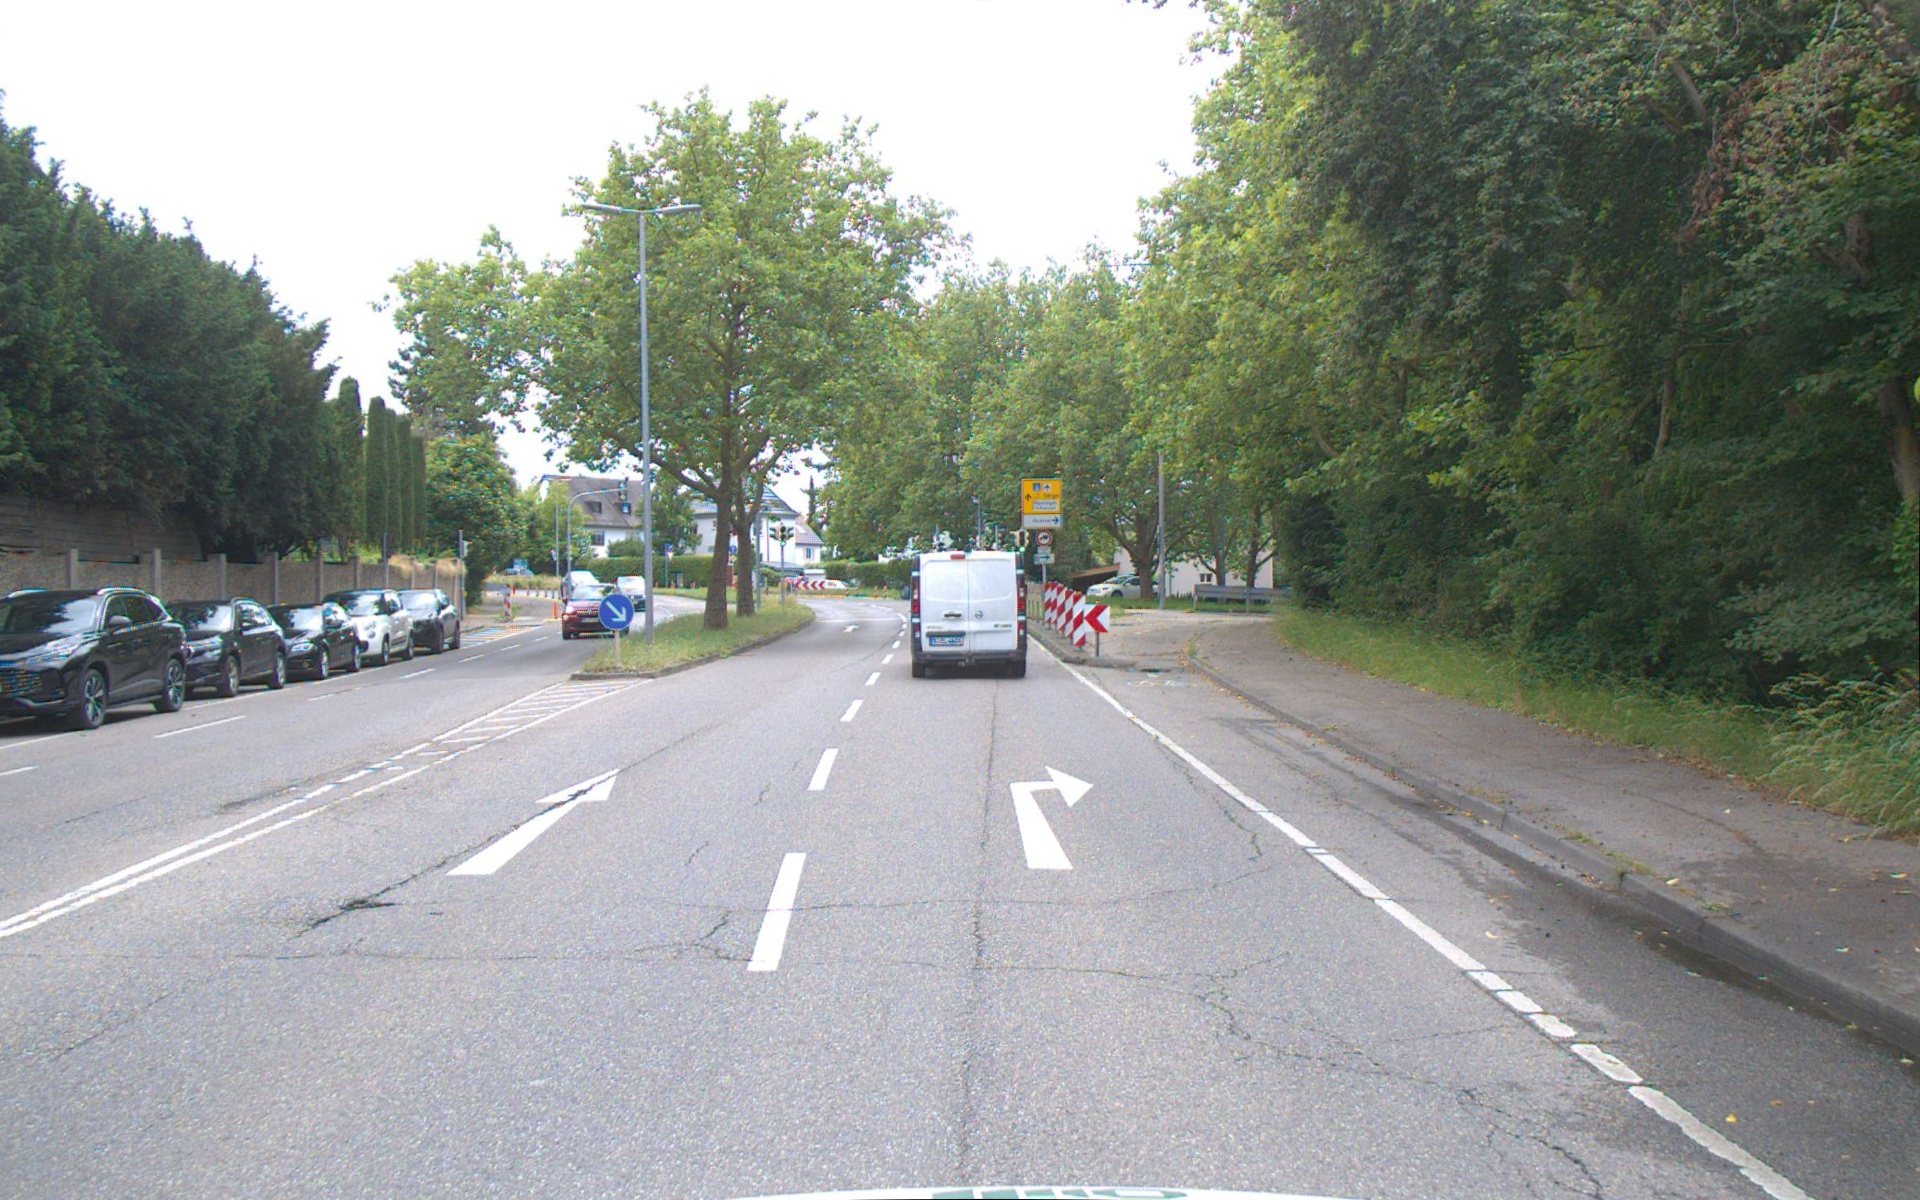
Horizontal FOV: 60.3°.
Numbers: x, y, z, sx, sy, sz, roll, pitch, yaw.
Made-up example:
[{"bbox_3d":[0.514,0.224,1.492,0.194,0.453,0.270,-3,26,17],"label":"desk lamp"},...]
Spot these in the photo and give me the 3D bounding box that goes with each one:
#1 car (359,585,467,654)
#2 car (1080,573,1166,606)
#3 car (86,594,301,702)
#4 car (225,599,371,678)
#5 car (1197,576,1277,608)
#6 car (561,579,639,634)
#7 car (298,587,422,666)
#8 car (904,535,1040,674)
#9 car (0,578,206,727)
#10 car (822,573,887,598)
[{"bbox_3d":[-13.928,0.469,42.344,1.852,1.653,4.422,-1,0,-8],"label":"car"},{"bbox_3d":[9.064,-0.588,91.766,4.692,1.800,1.975,-1,1,-36],"label":"car"},{"bbox_3d":[-12.239,0.708,26.710,1.909,1.538,4.097,-2,0,-7],"label":"car"},{"bbox_3d":[-12.814,0.703,32.254,1.616,1.425,4.215,-1,0,-7],"label":"car"},{"bbox_3d":[16.301,-0.487,97.190,4.692,1.800,1.975,-1,1,-36],"label":"car"},{"bbox_3d":[-11.189,0.192,51.676,1.960,1.615,3.992,-1,0,-7],"label":"car"},{"bbox_3d":[-13.348,0.547,37.020,1.640,1.620,4.090,-2,1,-6],"label":"car"},{"bbox_3d":[0.106,0.079,27.637,1.966,2.073,5.007,-1,0,-3],"label":"car"},{"bbox_3d":[-11.321,0.608,20.997,1.956,1.672,4.458,-1,0,-8],"label":"car"},{"bbox_3d":[-7.897,-1.106,123.476,4.645,1.800,1.995,0,1,33],"label":"car"}]
